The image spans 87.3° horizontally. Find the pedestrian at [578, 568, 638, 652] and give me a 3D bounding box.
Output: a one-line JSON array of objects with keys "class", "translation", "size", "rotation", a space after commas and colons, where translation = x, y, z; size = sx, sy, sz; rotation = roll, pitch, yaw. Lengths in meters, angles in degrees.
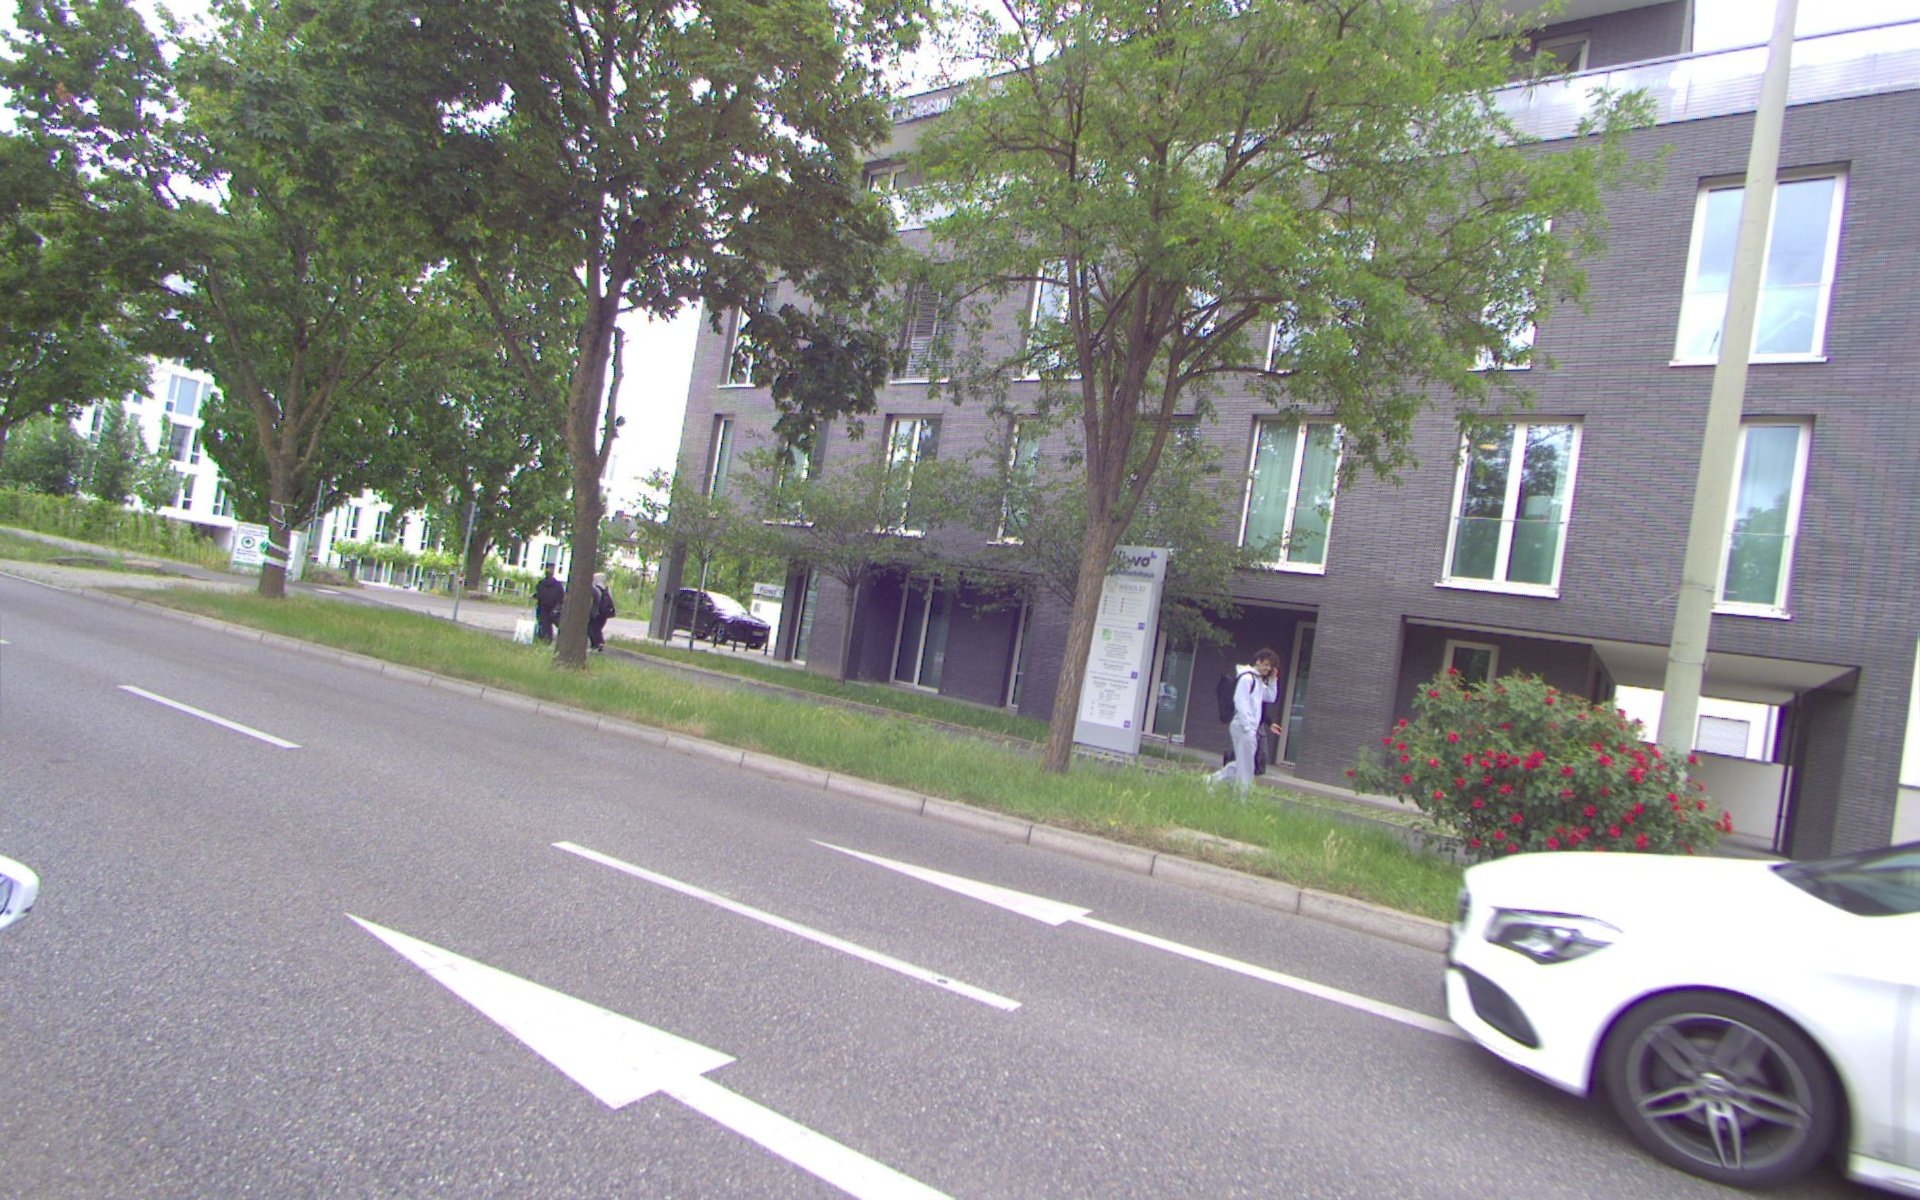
[{"class": "pedestrian", "translation": [-7.182, 0.204, 20.545], "size": [0.732, 1.567, 0.590], "rotation": [7, -4, 37]}]

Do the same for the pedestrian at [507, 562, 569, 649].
[{"class": "pedestrian", "translation": [-8.161, 0.116, 19.476], "size": [0.578, 1.570, 0.726], "rotation": [7, -2, 37]}]

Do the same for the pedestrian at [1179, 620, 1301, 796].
[{"class": "pedestrian", "translation": [3.195, 1.215, 11.468], "size": [0.938, 1.796, 0.609], "rotation": [10, 0, 32]}]

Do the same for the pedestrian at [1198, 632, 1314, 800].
[{"class": "pedestrian", "translation": [3.536, 1.371, 12.022], "size": [0.938, 1.796, 0.609], "rotation": [10, 0, 32]}]

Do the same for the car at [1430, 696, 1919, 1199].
[{"class": "car", "translation": [4.299, 1.425, 3.386], "size": [4.623, 1.489, 1.797], "rotation": [6, -3, 33]}]

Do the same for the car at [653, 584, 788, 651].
[{"class": "car", "translation": [-7.839, 0.546, 32.771], "size": [4.112, 1.569, 1.828], "rotation": [7, -2, 34]}]

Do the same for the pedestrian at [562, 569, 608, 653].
[{"class": "pedestrian", "translation": [-7.457, 0.216, 20.022], "size": [0.553, 1.568, 0.409], "rotation": [6, -3, 37]}]
